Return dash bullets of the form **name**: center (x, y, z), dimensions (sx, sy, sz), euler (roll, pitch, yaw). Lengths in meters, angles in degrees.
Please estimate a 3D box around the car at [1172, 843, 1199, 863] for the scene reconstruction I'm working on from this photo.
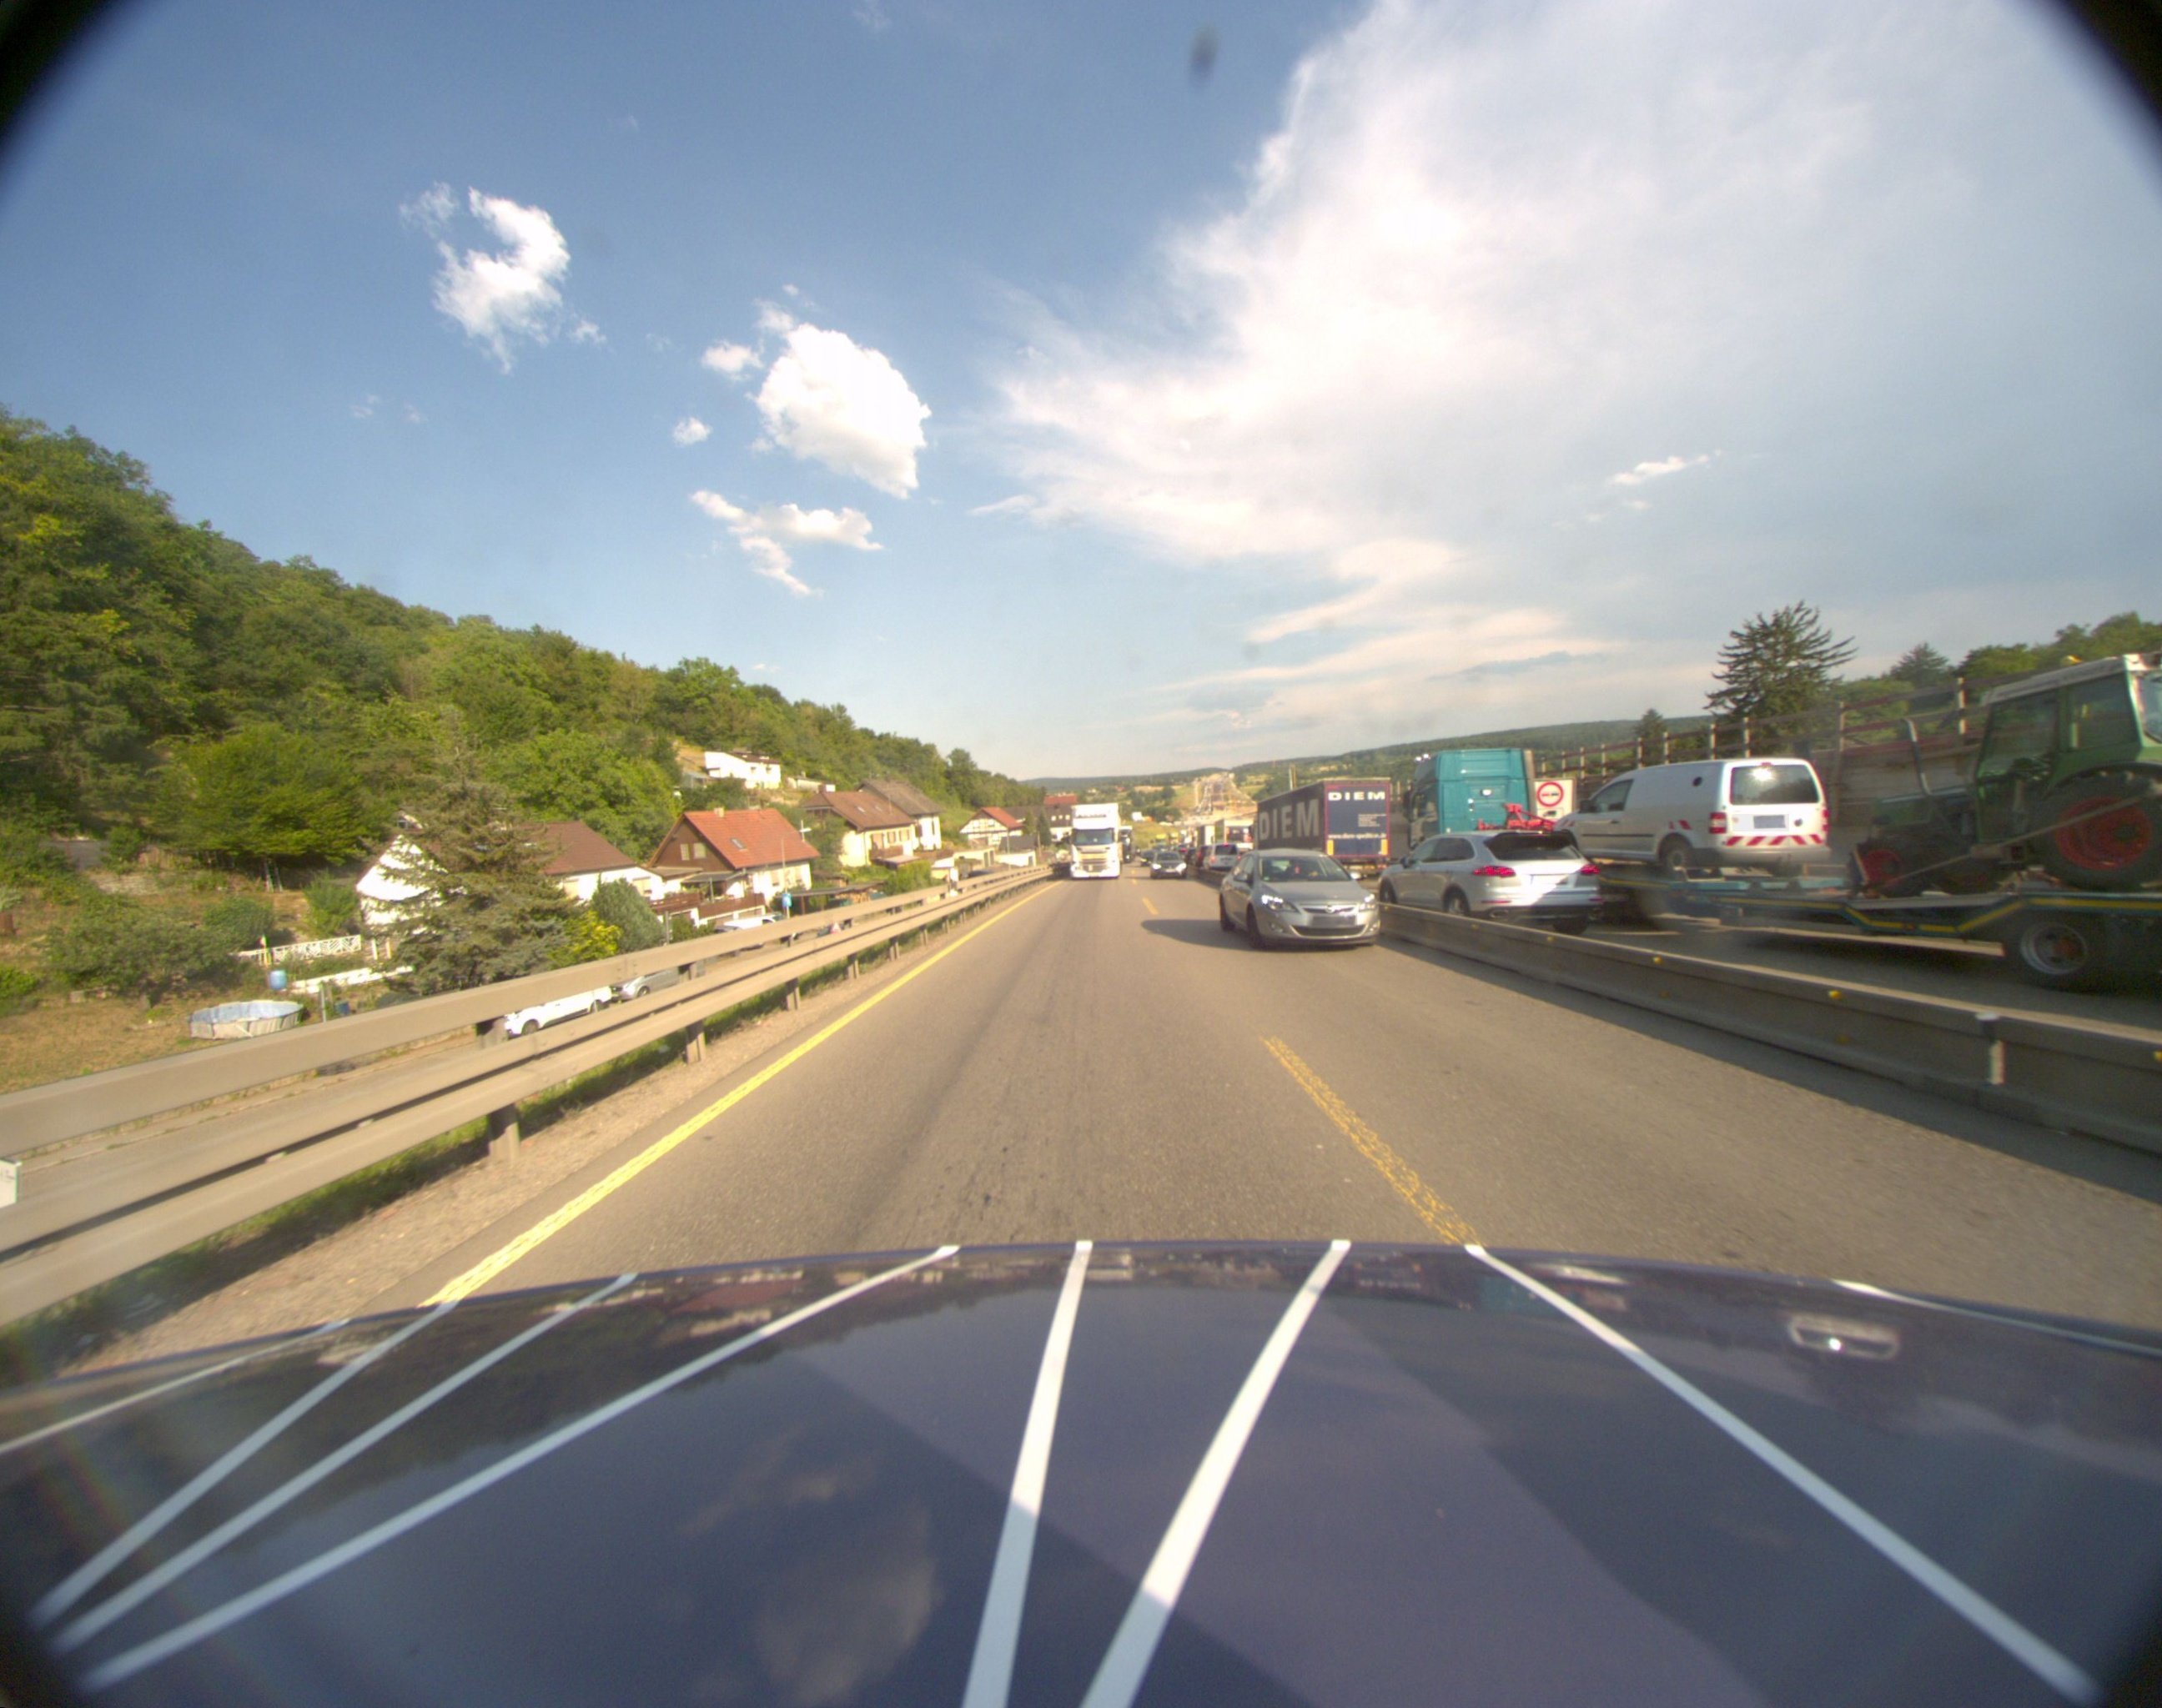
- **car**: center (9.163, -0.125, 66.937), dimensions (1.881, 1.596, 5.368), euler (1, 1, 3)

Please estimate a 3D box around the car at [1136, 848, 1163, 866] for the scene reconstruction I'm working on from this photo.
- **car**: center (6.209, 0.247, 69.112), dimensions (1.999, 1.565, 3.998), euler (-1, 1, -1)

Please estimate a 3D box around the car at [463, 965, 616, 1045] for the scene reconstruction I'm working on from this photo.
- **car**: center (-21.695, 5.980, 30.792), dimensions (1.865, 1.975, 5.053), euler (-1, 3, 11)

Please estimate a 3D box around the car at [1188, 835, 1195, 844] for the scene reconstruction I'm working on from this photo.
- **car**: center (33.112, -4.344, 227.922), dimensions (2.000, 2.601, 5.616), euler (0, 1, 8)

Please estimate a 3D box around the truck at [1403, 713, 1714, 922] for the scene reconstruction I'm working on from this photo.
- **truck**: center (10.172, -0.708, 17.375), dimensions (2.755, 3.784, 7.111), euler (0, 1, 1)

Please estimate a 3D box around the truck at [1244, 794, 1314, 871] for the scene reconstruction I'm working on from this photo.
- **truck**: center (11.178, -1.192, 43.274), dimensions (2.755, 4.091, 5.030), euler (0, 1, 1)

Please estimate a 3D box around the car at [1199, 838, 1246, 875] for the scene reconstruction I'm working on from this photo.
- **car**: center (8.104, 0.078, 43.927), dimensions (1.828, 1.922, 5.129), euler (1, 2, 2)

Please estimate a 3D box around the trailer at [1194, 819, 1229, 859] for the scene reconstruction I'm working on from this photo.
- **trailer**: center (14.741, -1.752, 86.997), dimensions (2.782, 4.179, 13.834), euler (-1, 1, 5)

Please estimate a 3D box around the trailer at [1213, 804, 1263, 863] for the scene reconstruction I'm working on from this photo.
- **trailer**: center (12.652, -1.621, 61.933), dimensions (2.918, 4.440, 7.153), euler (-2, 1, 4)

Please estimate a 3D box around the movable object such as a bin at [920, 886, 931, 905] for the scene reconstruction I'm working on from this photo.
- **movable object such as a bin**: center (-14.640, 3.902, 71.446), dimensions (0.536, 1.760, 0.409), euler (-11, 1, 16)

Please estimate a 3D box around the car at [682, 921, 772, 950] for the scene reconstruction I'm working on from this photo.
- **car**: center (-22.702, 5.233, 48.746), dimensions (5.099, 1.548, 1.716), euler (-2, 3, 10)

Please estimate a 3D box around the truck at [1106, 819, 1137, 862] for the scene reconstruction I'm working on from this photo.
- **truck**: center (4.655, -1.429, 86.063), dimensions (2.787, 4.505, 7.193), euler (-3, 0, 6)

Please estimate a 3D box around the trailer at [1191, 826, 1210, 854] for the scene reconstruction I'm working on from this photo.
- **trailer**: center (19.671, -2.414, 125.808), dimensions (2.461, 4.296, 13.778), euler (-1, 1, 6)

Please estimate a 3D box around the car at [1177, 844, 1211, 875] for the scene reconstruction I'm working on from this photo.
- **car**: center (7.826, 0.327, 52.971), dimensions (1.837, 1.952, 4.898), euler (-1, 2, 3)

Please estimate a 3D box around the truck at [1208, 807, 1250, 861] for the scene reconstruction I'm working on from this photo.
- **truck**: center (13.038, -1.776, 67.402), dimensions (2.926, 4.489, 5.028), euler (-2, 1, 4)

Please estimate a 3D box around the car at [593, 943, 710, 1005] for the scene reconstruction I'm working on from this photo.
- **car**: center (-20.392, 5.629, 36.363), dimensions (1.999, 1.907, 4.866), euler (-1, 3, 13)

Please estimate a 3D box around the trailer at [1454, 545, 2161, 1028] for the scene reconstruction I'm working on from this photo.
- **trailer**: center (9.963, -0.594, 9.846), dimensions (2.755, 3.794, 16.045), euler (0, 1, 2)

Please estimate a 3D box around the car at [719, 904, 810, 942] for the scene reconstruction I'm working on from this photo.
- **car**: center (-21.767, 4.739, 52.318), dimensions (5.476, 2.251, 2.001), euler (-2, 3, 10)

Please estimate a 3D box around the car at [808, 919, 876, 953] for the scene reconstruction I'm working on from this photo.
- **car**: center (-14.905, 5.110, 47.564), dimensions (1.769, 1.589, 3.623), euler (-5, 0, 32)

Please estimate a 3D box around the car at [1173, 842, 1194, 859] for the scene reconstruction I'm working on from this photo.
- **car**: center (11.046, -0.404, 81.865), dimensions (1.866, 1.577, 4.746), euler (-4, 2, 5)

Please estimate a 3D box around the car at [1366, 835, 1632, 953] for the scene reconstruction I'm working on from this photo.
- **car**: center (6.815, 0.510, 13.157), dimensions (1.964, 1.635, 4.847), euler (-1, 1, 0)

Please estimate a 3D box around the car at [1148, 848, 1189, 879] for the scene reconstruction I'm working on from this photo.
- **car**: center (4.511, 0.458, 39.614), dimensions (1.823, 1.433, 4.000), euler (-3, 1, 3)

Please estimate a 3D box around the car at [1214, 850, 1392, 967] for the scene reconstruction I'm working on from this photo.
- **car**: center (3.298, 0.723, 12.119), dimensions (1.810, 1.478, 4.119), euler (-1, 1, 3)

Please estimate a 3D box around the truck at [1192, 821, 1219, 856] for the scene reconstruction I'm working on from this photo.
- **truck**: center (15.283, -1.923, 93.672), dimensions (2.770, 4.179, 6.115), euler (-1, 2, 5)

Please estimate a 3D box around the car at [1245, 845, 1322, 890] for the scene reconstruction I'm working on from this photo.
- **car**: center (7.530, 0.439, 28.737), dimensions (1.807, 1.513, 4.816), euler (0, 1, 3)

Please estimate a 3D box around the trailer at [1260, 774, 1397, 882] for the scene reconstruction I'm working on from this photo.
- **trailer**: center (10.899, -1.089, 35.240), dimensions (2.721, 4.099, 12.492), euler (0, 1, 2)

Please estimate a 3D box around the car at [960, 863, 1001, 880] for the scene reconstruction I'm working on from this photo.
- **car**: center (-12.408, 2.180, 93.528), dimensions (4.500, 1.518, 2.000), euler (5, 5, 11)

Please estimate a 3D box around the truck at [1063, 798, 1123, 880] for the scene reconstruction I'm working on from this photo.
- **truck**: center (0.836, -0.912, 44.836), dimensions (2.892, 4.059, 13.891), euler (-1, 1, 2)

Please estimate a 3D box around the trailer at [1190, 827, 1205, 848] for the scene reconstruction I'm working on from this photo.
- **trailer**: center (23.557, -3.405, 153.925), dimensions (2.821, 4.082, 8.289), euler (-1, 2, 7)

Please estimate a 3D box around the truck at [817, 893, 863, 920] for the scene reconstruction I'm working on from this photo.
- **truck**: center (-19.862, 4.265, 62.497), dimensions (2.002, 1.729, 3.990), euler (-11, 5, -39)

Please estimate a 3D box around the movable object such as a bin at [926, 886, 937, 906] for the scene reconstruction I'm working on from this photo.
- **movable object such as a bin**: center (-14.295, 4.010, 72.668), dimensions (0.490, 1.760, 0.414), euler (-11, 1, 16)
